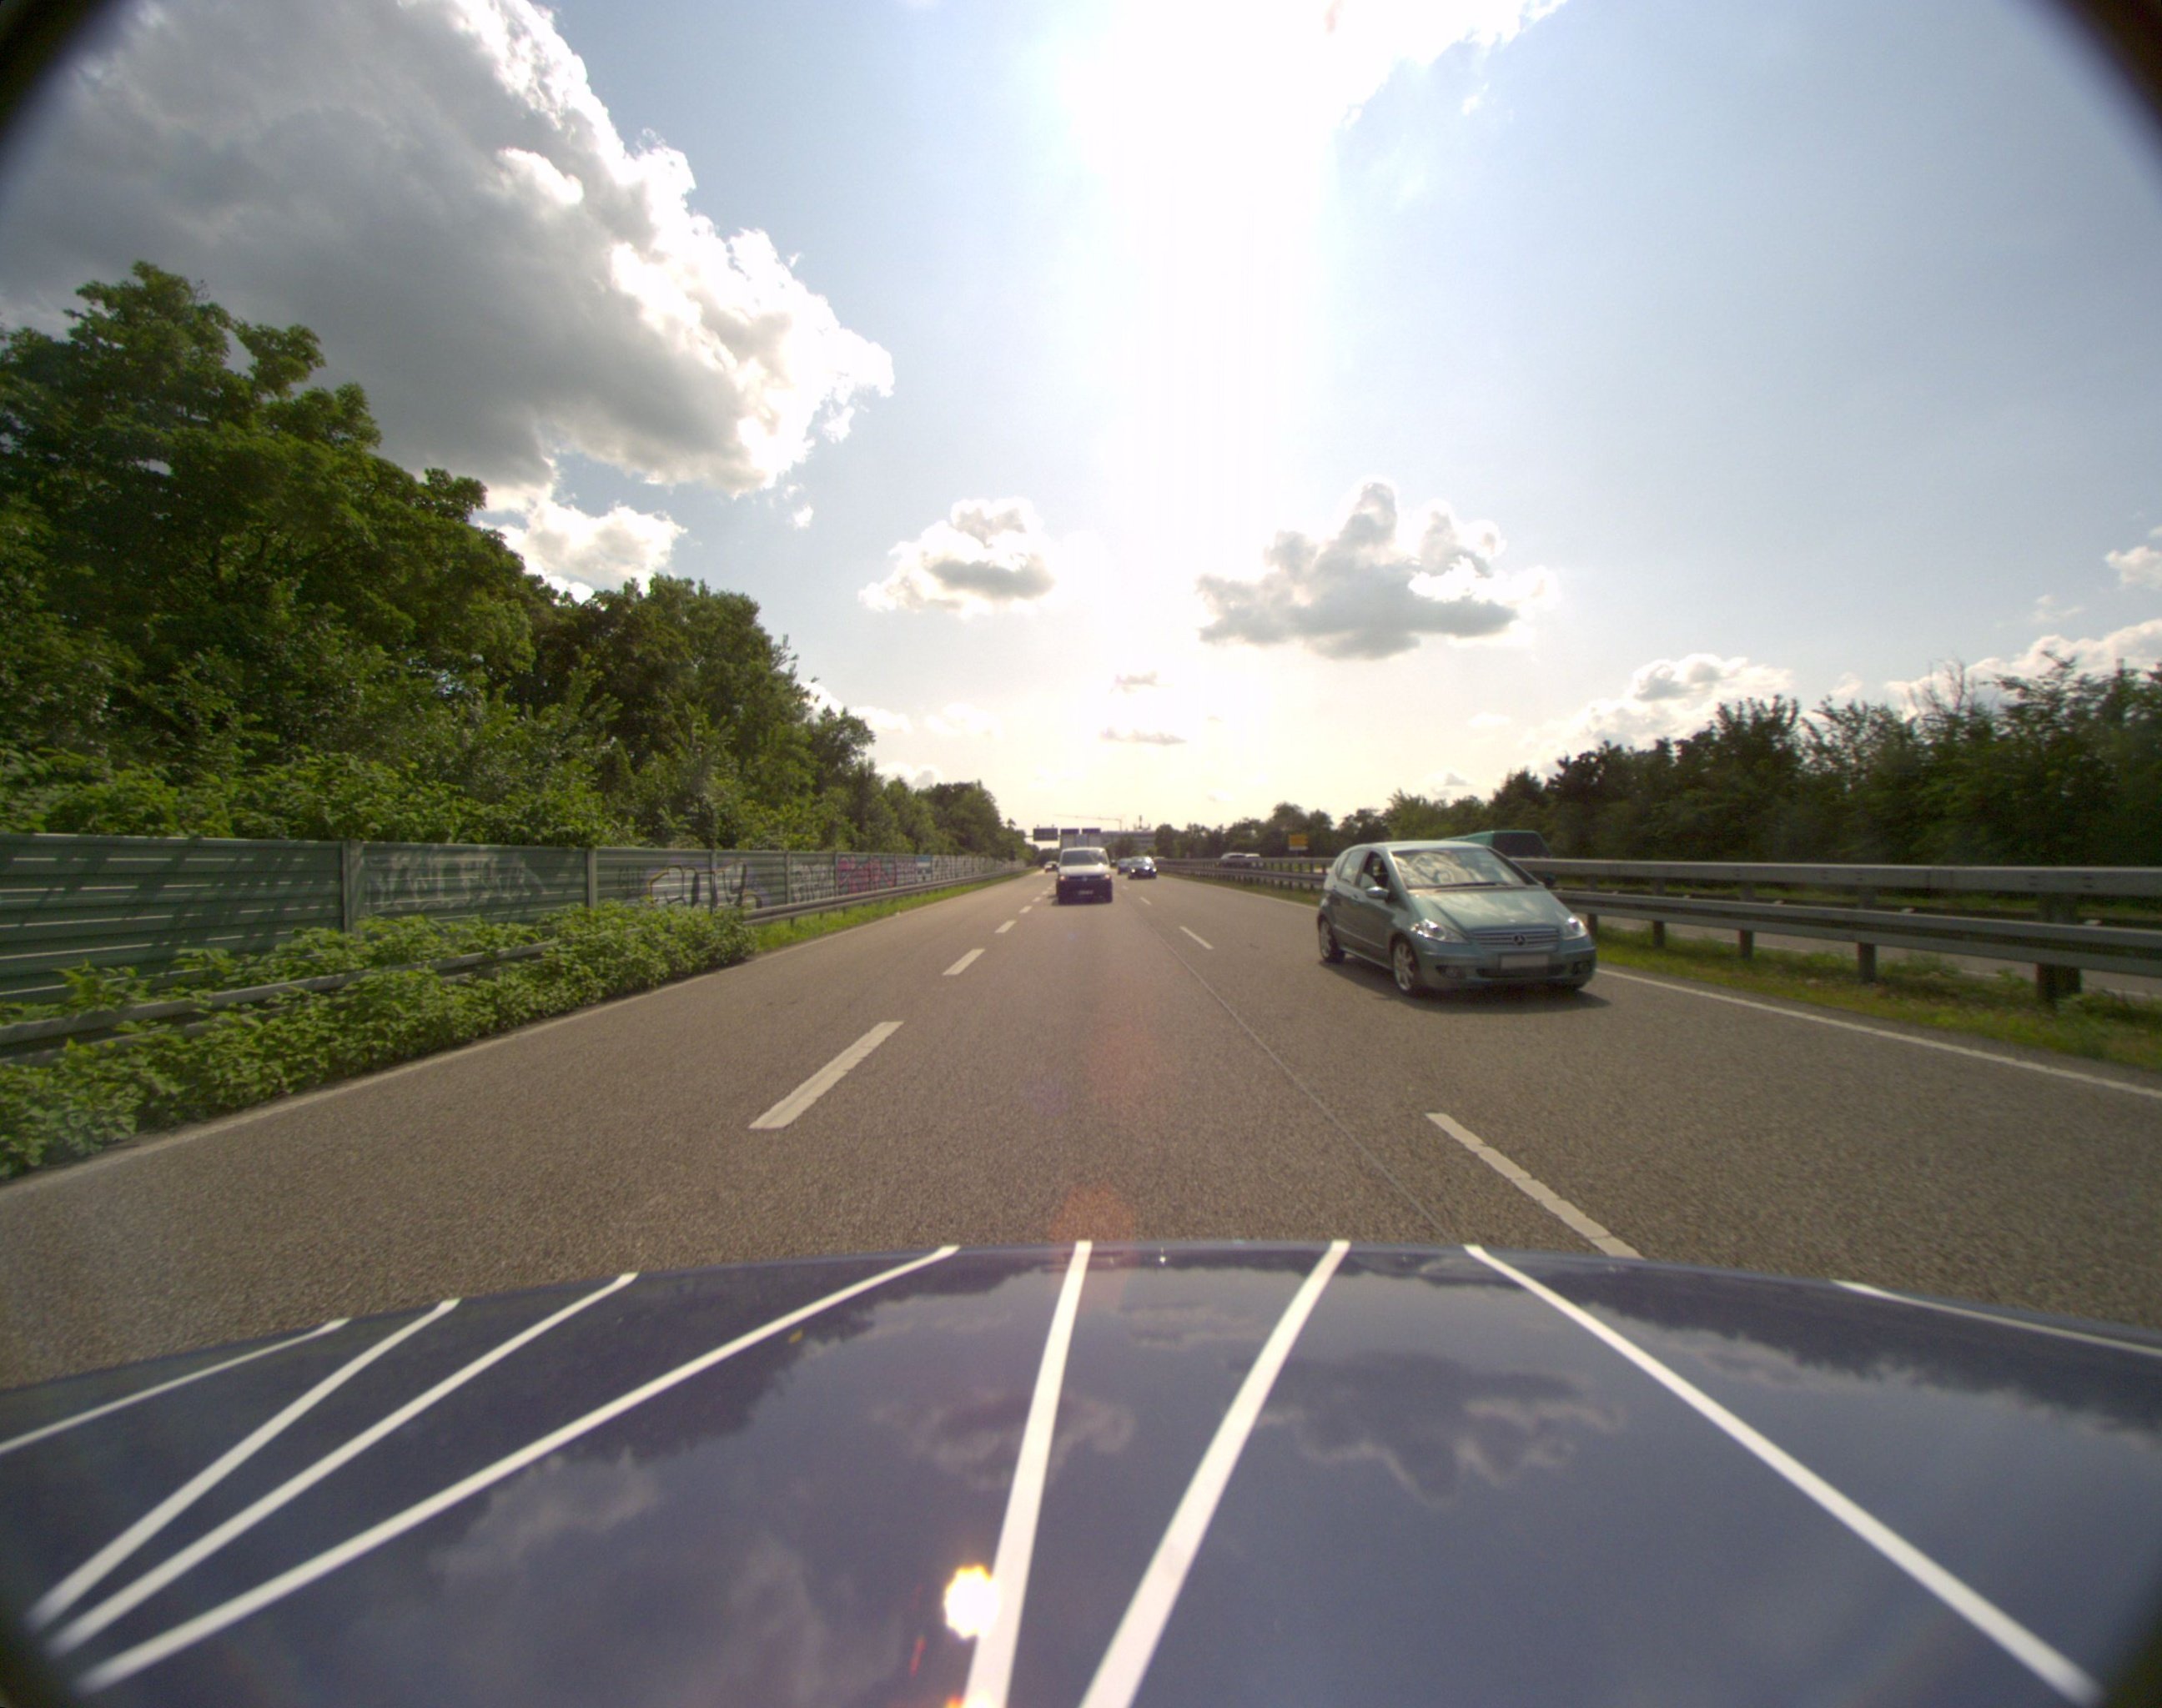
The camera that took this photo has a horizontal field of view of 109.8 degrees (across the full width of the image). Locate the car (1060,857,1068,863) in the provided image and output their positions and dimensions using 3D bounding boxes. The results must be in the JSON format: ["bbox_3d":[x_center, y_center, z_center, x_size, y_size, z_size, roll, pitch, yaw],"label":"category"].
[{"bbox_3d":[-4.454,1.520,196.819,1.768,1.403,3.771,-3,1,1],"label":"car"}]

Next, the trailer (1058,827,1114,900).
[{"bbox_3d":[0.233,0.334,32.167,1.998,2.723,5.966,-3,1,1],"label":"trailer"}]

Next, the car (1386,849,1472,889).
[{"bbox_3d":[15.434,0.626,33.996,1.706,1.566,4.556,-3,1,0],"label":"car"}]

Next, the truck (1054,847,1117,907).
[{"bbox_3d":[0.178,0.762,27.149,2.008,1.905,4.000,-2,0,1],"label":"truck"}]

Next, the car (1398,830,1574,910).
[{"bbox_3d":[11.016,0.368,21.253,1.998,1.853,5.392,-3,1,0],"label":"car"}]

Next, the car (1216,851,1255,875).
[{"bbox_3d":[11.229,0.603,55.578,1.998,1.588,4.132,-3,1,0],"label":"car"}]

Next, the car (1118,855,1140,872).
[{"bbox_3d":[4.371,0.890,69.679,1.625,1.403,3.770,-3,1,-1],"label":"car"}]

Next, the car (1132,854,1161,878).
[{"bbox_3d":[4.578,0.805,53.406,1.716,1.518,4.592,-3,1,1],"label":"car"}]

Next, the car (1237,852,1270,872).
[{"bbox_3d":[15.765,0.684,69.644,1.966,1.636,4.550,-3,1,1],"label":"car"}]

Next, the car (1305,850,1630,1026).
[{"bbox_3d":[4.043,0.749,8.797,1.752,1.522,4.000,-2,0,1],"label":"car"}]

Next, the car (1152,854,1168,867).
[{"bbox_3d":[10.634,0.811,102.449,1.692,1.636,4.268,-3,1,-1],"label":"car"}]

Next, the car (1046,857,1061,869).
[{"bbox_3d":[-3.690,1.206,104.251,1.768,1.403,3.771,-3,1,1],"label":"car"}]
